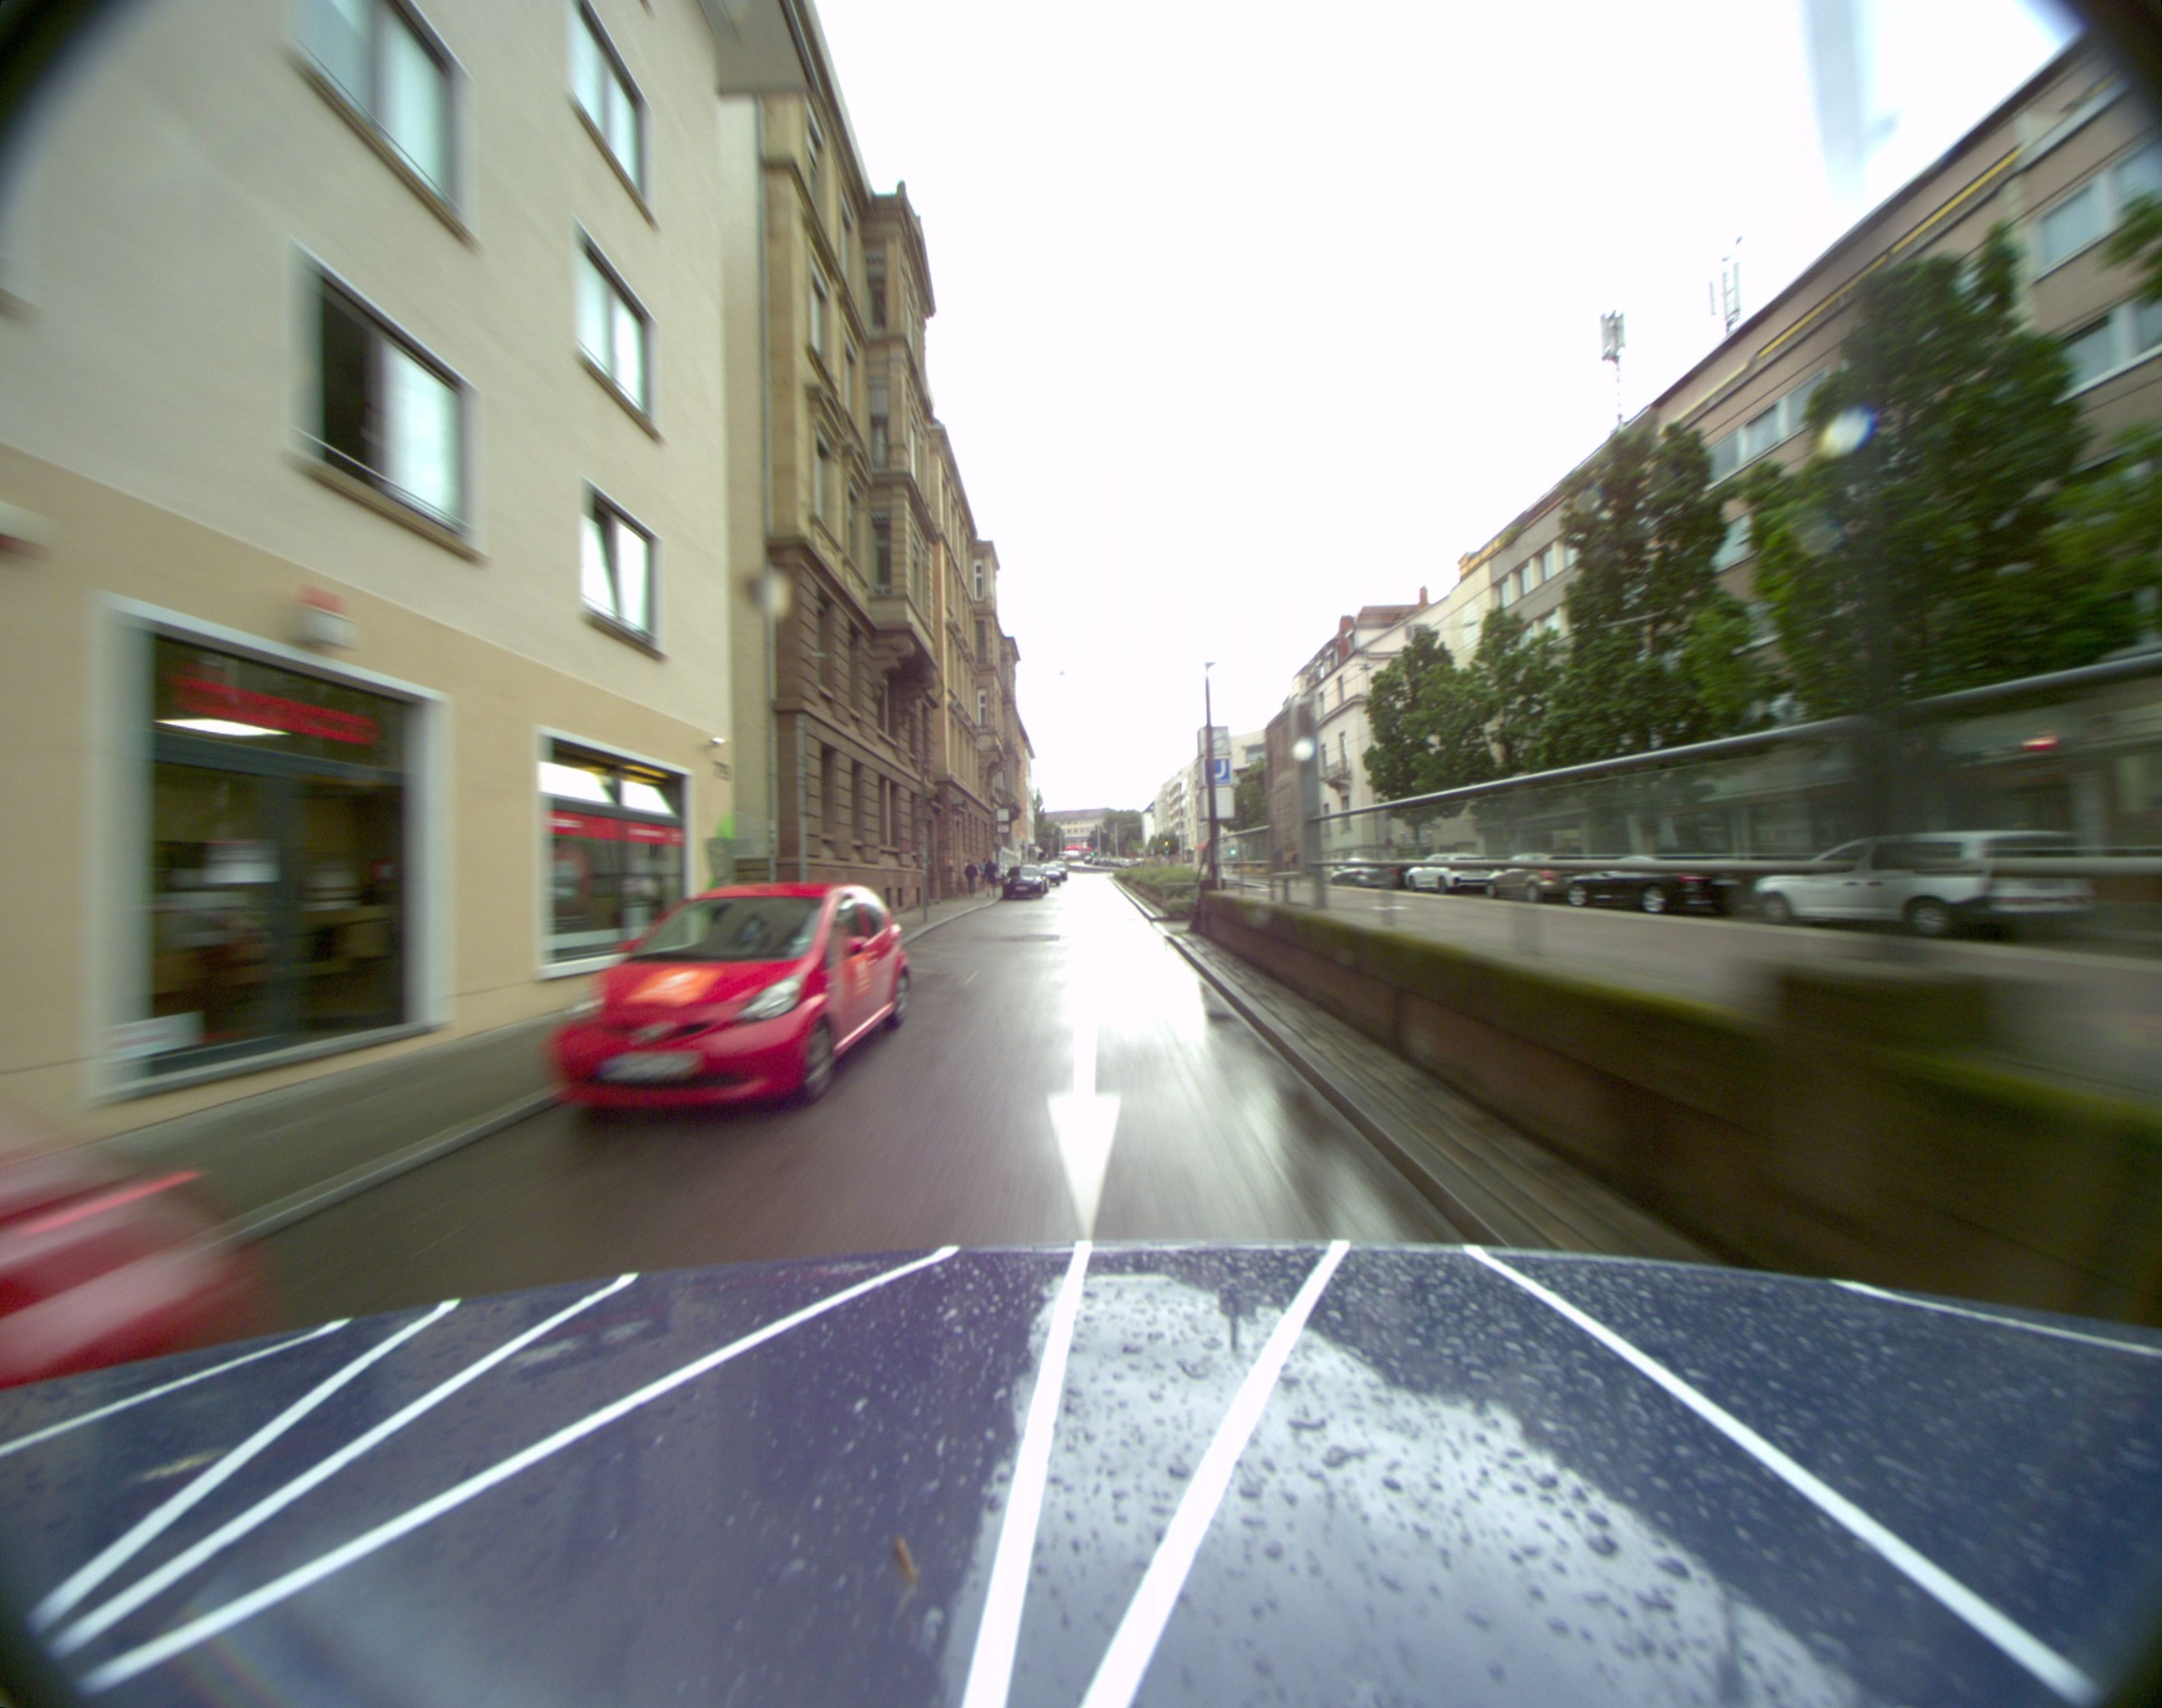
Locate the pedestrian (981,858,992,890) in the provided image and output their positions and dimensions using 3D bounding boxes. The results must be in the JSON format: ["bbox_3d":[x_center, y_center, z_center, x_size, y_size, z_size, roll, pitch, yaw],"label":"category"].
[{"bbox_3d":[-4.911,1.053,39.574,0.485,1.635,0.463,-1,1,-3],"label":"pedestrian"}]

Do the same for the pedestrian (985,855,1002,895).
[{"bbox_3d":[-3.885,0.931,33.776,0.653,1.752,0.882,-1,1,-3],"label":"pedestrian"}]

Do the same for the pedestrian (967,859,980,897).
[{"bbox_3d":[-4.719,1.053,33.317,0.489,1.635,0.631,-1,1,-3],"label":"pedestrian"}]

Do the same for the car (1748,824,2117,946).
[{"bbox_3d":[14.915,0.466,13.784,1.678,1.806,4.431,-2,0,-1],"label":"car"}]

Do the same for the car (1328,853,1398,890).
[{"bbox_3d":[12.223,0.712,33.197,1.642,1.453,3.963,-2,0,1],"label":"car"}]

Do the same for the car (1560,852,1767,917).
[{"bbox_3d":[14.664,0.682,19.538,1.643,1.432,4.729,-2,0,-1],"label":"car"}]

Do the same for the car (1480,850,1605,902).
[{"bbox_3d":[14.828,0.646,24.663,1.642,1.529,4.022,-2,0,1],"label":"car"}]

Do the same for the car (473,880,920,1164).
[{"bbox_3d":[-2.557,1.023,6.055,1.720,1.453,3.445,-2,0,1],"label":"car"}]

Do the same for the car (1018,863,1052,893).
[{"bbox_3d":[-2.341,1.216,39.538,1.588,1.405,3.829,-2,0,-1],"label":"car"}]

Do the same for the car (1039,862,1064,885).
[{"bbox_3d":[-1.937,1.279,50.887,1.588,1.343,3.977,-2,0,-1],"label":"car"}]

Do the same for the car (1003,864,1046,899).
[{"bbox_3d":[-2.443,1.157,33.520,1.628,1.343,3.829,-2,0,-1],"label":"car"}]

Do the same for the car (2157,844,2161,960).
[{"bbox_3d":[15.026,0.615,8.125,1.643,1.530,3.803,-2,0,-1],"label":"car"}]

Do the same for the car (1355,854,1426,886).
[{"bbox_3d":[14.933,0.740,36.875,1.718,1.367,4.457,-2,0,2],"label":"car"}]

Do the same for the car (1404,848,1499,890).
[{"bbox_3d":[14.947,0.558,30.933,1.662,1.575,4.337,-2,0,-1],"label":"car"}]

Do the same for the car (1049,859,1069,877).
[{"bbox_3d":[-1.855,1.174,65.602,1.588,1.442,3.977,-2,0,0],"label":"car"}]

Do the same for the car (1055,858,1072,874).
[{"bbox_3d":[-1.673,1.159,73.619,1.588,1.442,3.977,-2,0,0],"label":"car"}]
